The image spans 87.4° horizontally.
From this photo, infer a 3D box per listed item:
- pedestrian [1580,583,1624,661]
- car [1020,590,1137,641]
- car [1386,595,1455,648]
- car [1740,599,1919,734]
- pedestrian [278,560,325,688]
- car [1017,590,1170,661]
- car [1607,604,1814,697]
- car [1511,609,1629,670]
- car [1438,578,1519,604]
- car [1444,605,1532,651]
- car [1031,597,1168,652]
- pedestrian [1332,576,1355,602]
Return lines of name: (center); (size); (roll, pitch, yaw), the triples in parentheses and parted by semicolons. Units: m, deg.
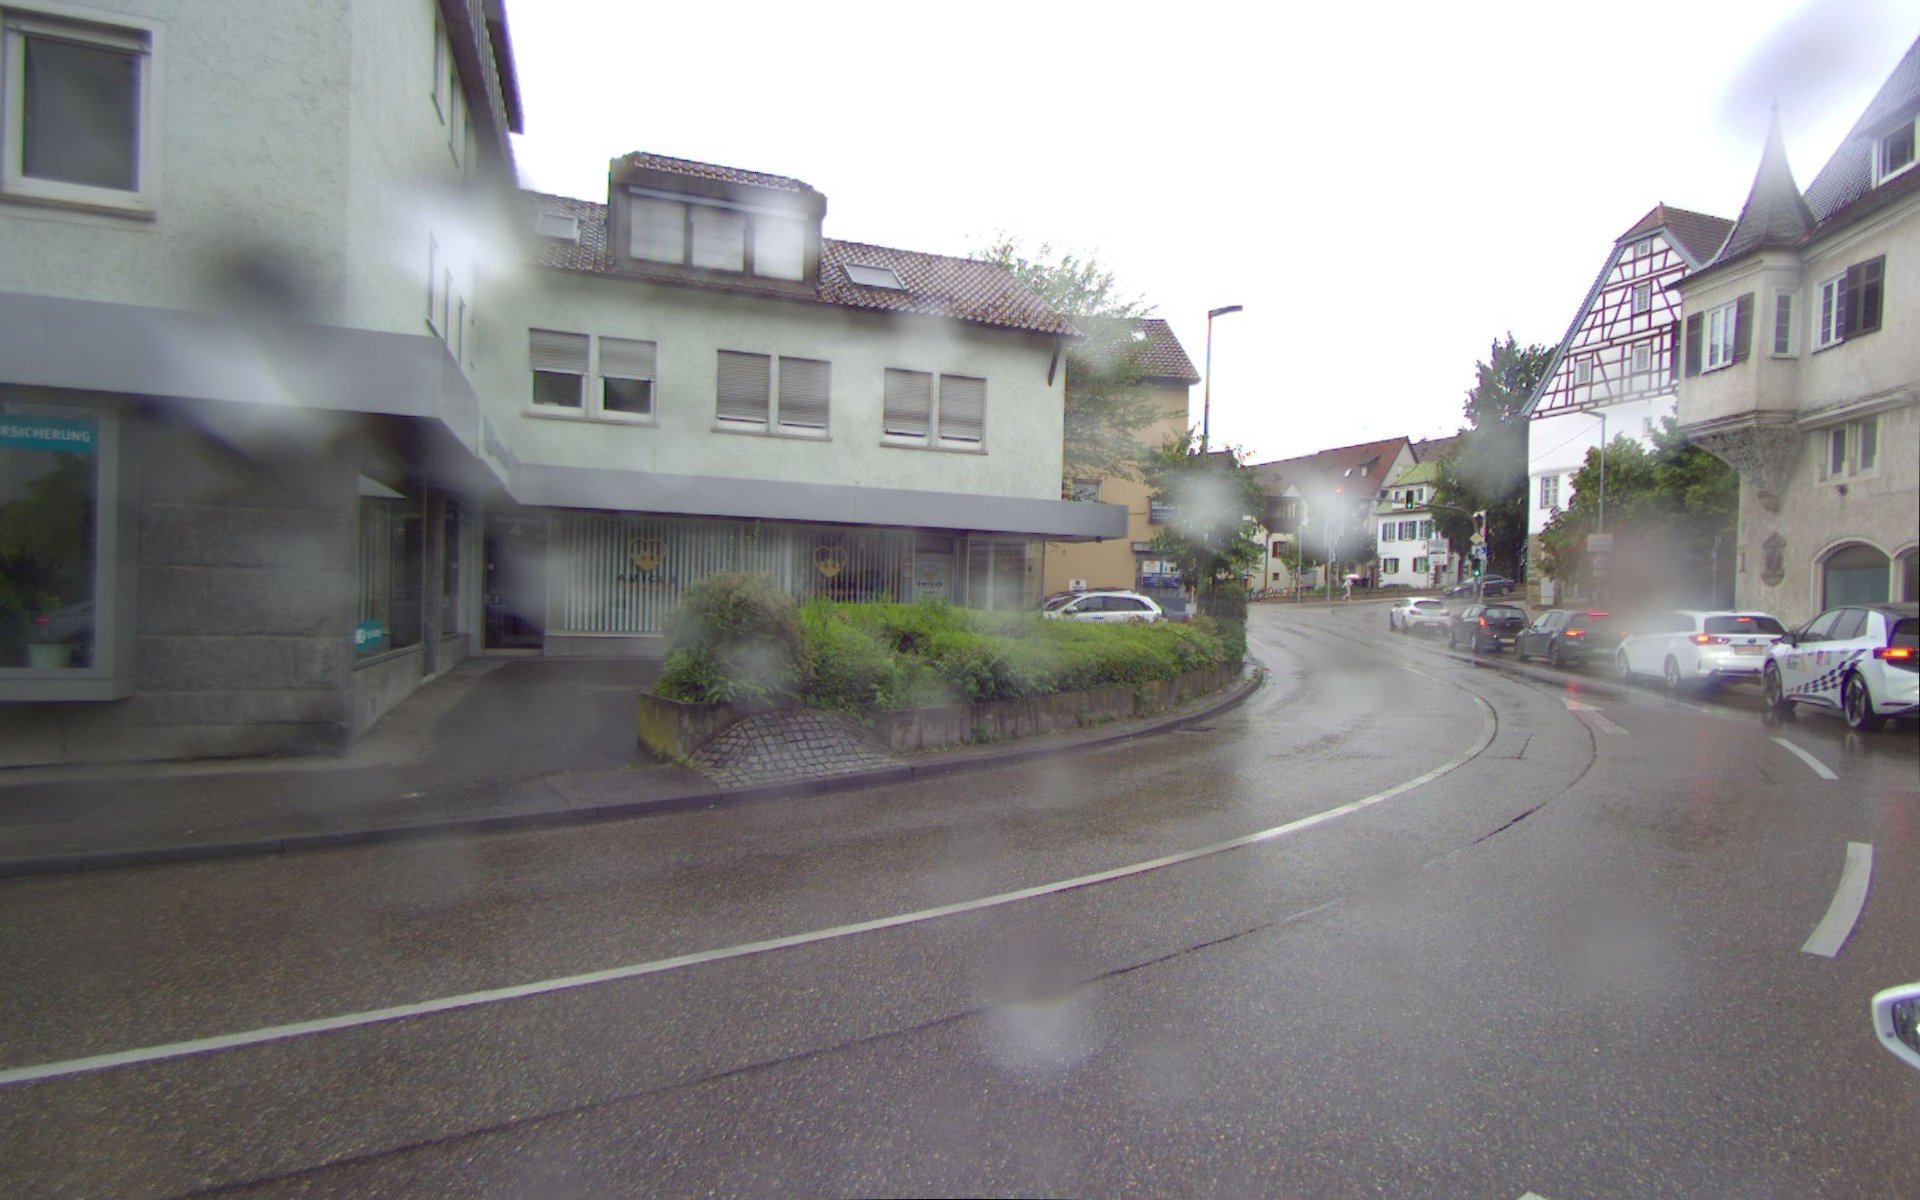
pedestrian: (20.024, 0.669, 31.337); (0.851, 2.357, 1.231); (1, 0, 18)
car: (3.814, 0.488, 32.709); (3.472, 1.597, 1.710); (0, 1, -8)
car: (19.516, 0.875, 42.693); (1.940, 2.118, 3.962); (0, 1, 14)
car: (12.140, 0.783, 13.307); (1.760, 1.537, 4.239); (0, -1, 22)
pedestrian: (-8.016, 0.285, 12.235); (0.419, 1.528, 0.356); (0, 1, -22)
car: (3.299, 0.621, 25.207); (3.472, 1.708, 1.710); (0, 1, -8)
car: (13.941, 0.850, 18.963); (1.755, 1.485, 4.165); (0, 1, 16)
car: (15.667, 0.973, 25.993); (1.493, 1.380, 3.769); (0, 1, 13)
car: (33.527, -0.613, 64.991); (4.446, 1.409, 1.648); (1, 7, -8)
car: (16.994, 0.866, 32.507); (1.634, 1.330, 3.625); (0, 1, 13)
car: (3.883, 0.674, 28.258); (3.472, 1.475, 1.710); (0, 1, -8)
pedestrian: (26.169, -0.732, 68.493); (1.128, 1.765, 1.004); (1, 0, -5)
